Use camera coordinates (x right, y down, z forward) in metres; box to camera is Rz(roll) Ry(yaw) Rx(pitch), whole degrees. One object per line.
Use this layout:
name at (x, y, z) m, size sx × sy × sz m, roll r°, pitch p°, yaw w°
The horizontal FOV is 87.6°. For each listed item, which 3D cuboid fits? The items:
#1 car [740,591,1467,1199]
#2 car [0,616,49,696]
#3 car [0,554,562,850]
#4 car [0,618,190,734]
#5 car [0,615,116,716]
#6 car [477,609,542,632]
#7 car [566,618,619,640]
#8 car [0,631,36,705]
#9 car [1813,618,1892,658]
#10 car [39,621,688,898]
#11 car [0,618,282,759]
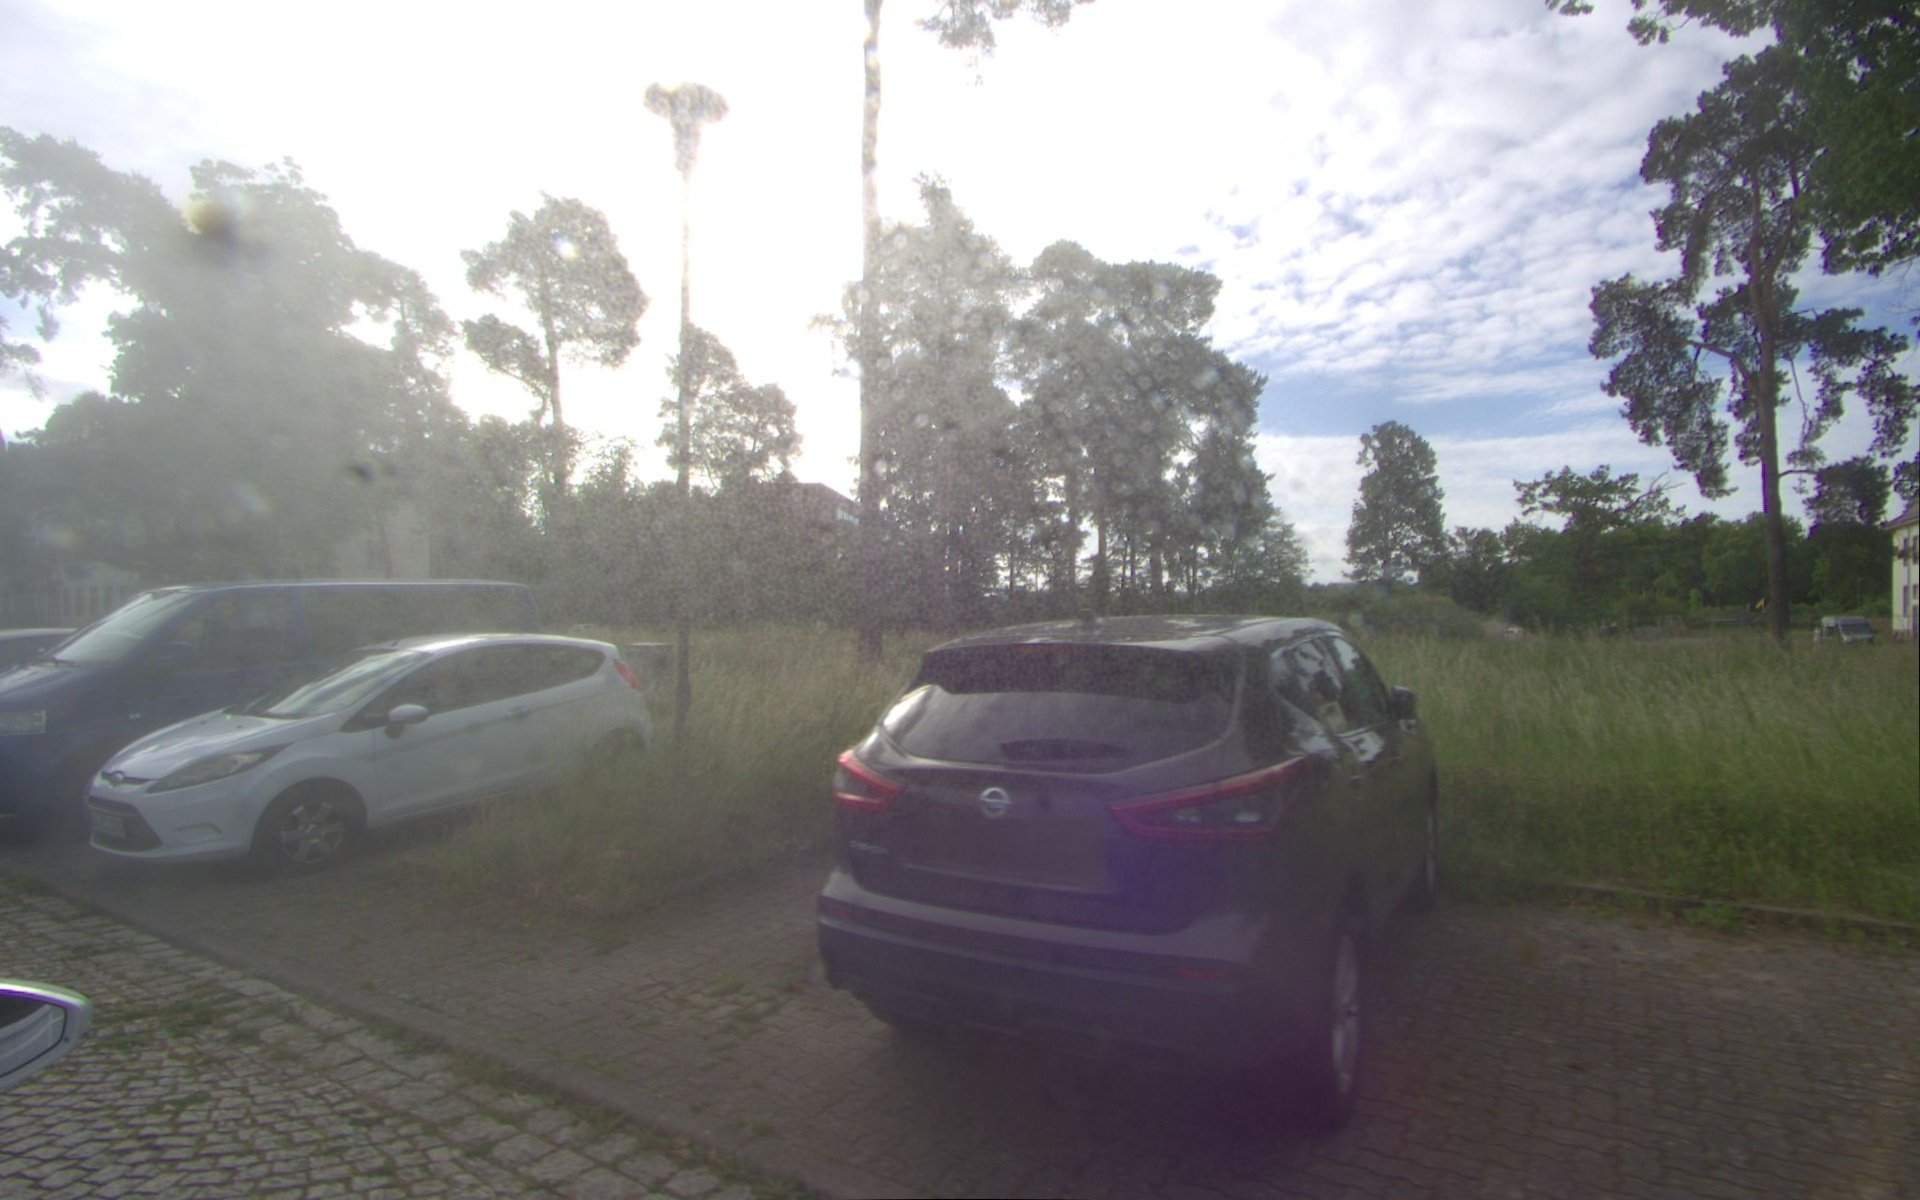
car at (1.144, 0.803, 4.639) m, size 1.924 × 1.616 × 4.198 m, roll 0°, pitch 0°, yaw 30°
car at (-19.443, 1.050, 18.100) m, size 1.659 × 1.496 × 4.099 m, roll 0°, pitch 0°, yaw 31°
car at (-6.332, 0.715, 9.230) m, size 1.937 × 2.030 × 4.788 m, roll 0°, pitch 0°, yaw 30°
car at (-13.200, 1.007, 13.518) m, size 1.740 × 1.466 × 4.121 m, roll 0°, pitch 0°, yaw 33°
car at (-15.417, 1.002, 15.302) m, size 1.718 × 1.507 × 3.499 m, roll 0°, pitch 0°, yaw 32°
car at (-42.359, 1.976, 94.346) m, size 2.076 × 2.045 × 5.292 m, roll 0°, pitch -3°, yaw 33°
car at (-32.850, 2.623, 89.604) m, size 1.874 × 1.826 × 4.125 m, roll 0°, pitch -3°, yaw 34°
car at (-17.767, 1.170, 16.428) m, size 1.606 × 1.239 × 3.578 m, roll 0°, pitch 0°, yaw 33°
car at (63.377, 2.721, 71.228) m, size 2.238 × 2.674 × 5.673 m, roll 0°, pitch -3°, yaw 20°
car at (-4.236, 0.947, 7.854) m, size 1.695 × 1.498 × 4.093 m, roll 0°, pitch 0°, yaw 29°
car at (-10.666, 0.986, 12.171) m, size 1.740 × 1.498 × 3.646 m, roll 0°, pitch 0°, yaw 32°
